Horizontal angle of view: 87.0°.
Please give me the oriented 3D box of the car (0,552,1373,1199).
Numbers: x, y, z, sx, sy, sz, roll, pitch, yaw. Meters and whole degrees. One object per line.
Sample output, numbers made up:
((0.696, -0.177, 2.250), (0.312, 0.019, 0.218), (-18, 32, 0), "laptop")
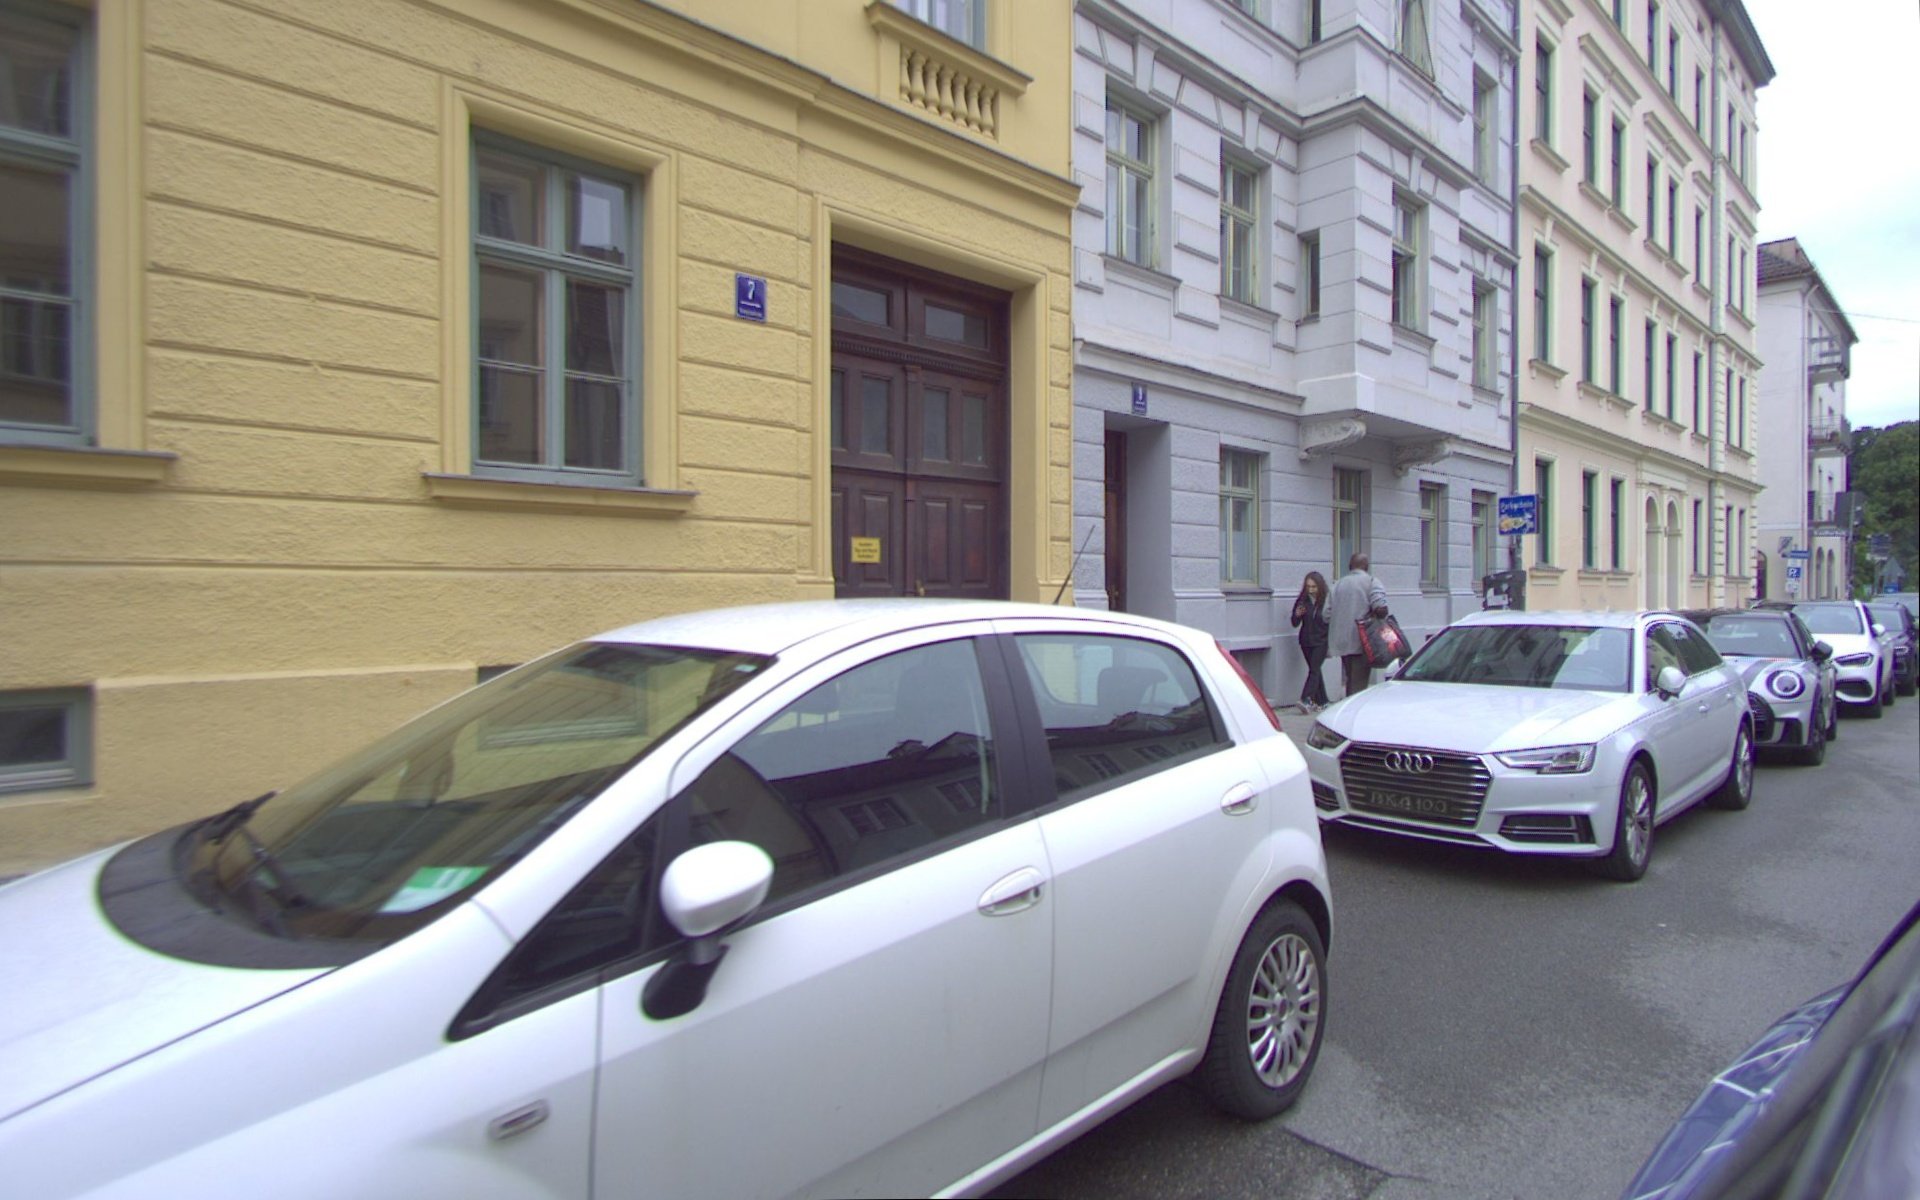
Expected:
((-0.587, 0.701, 2.525), (3.698, 1.529, 1.625), (0, 1, -43), "car")

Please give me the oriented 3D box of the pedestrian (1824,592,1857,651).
((27.723, 0.663, 31.864), (0.717, 1.825, 0.697), (0, 0, -43), "pedestrian")

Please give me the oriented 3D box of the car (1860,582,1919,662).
((24.692, 0.520, 25.813), (5.024, 1.884, 1.997), (0, 1, -41), "car")

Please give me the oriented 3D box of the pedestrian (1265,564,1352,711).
((3.971, 0.408, 11.553), (0.613, 1.594, 0.646), (1, 2, -39), "pedestrian")

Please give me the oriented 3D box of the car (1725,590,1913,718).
((12.782, 0.675, 14.973), (4.251, 1.621, 1.718), (0, 1, -44), "car")

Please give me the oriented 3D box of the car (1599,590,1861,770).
((8.206, 0.672, 10.655), (1.717, 1.529, 3.873), (1, 1, 45), "car")

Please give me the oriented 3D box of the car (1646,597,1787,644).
((27.882, 0.695, 37.380), (1.684, 1.585, 3.989), (0, 1, -45), "car")

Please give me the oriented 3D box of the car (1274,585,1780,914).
((4.057, 0.685, 6.862), (4.393, 1.529, 1.719), (0, 1, -43), "car")

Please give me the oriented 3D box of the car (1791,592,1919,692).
((16.430, 0.664, 18.199), (4.072, 1.586, 1.719), (0, 1, -42), "car")

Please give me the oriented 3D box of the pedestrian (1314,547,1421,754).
((3.933, 0.459, 9.753), (0.792, 1.886, 0.702), (1, 0, -44), "pedestrian")
